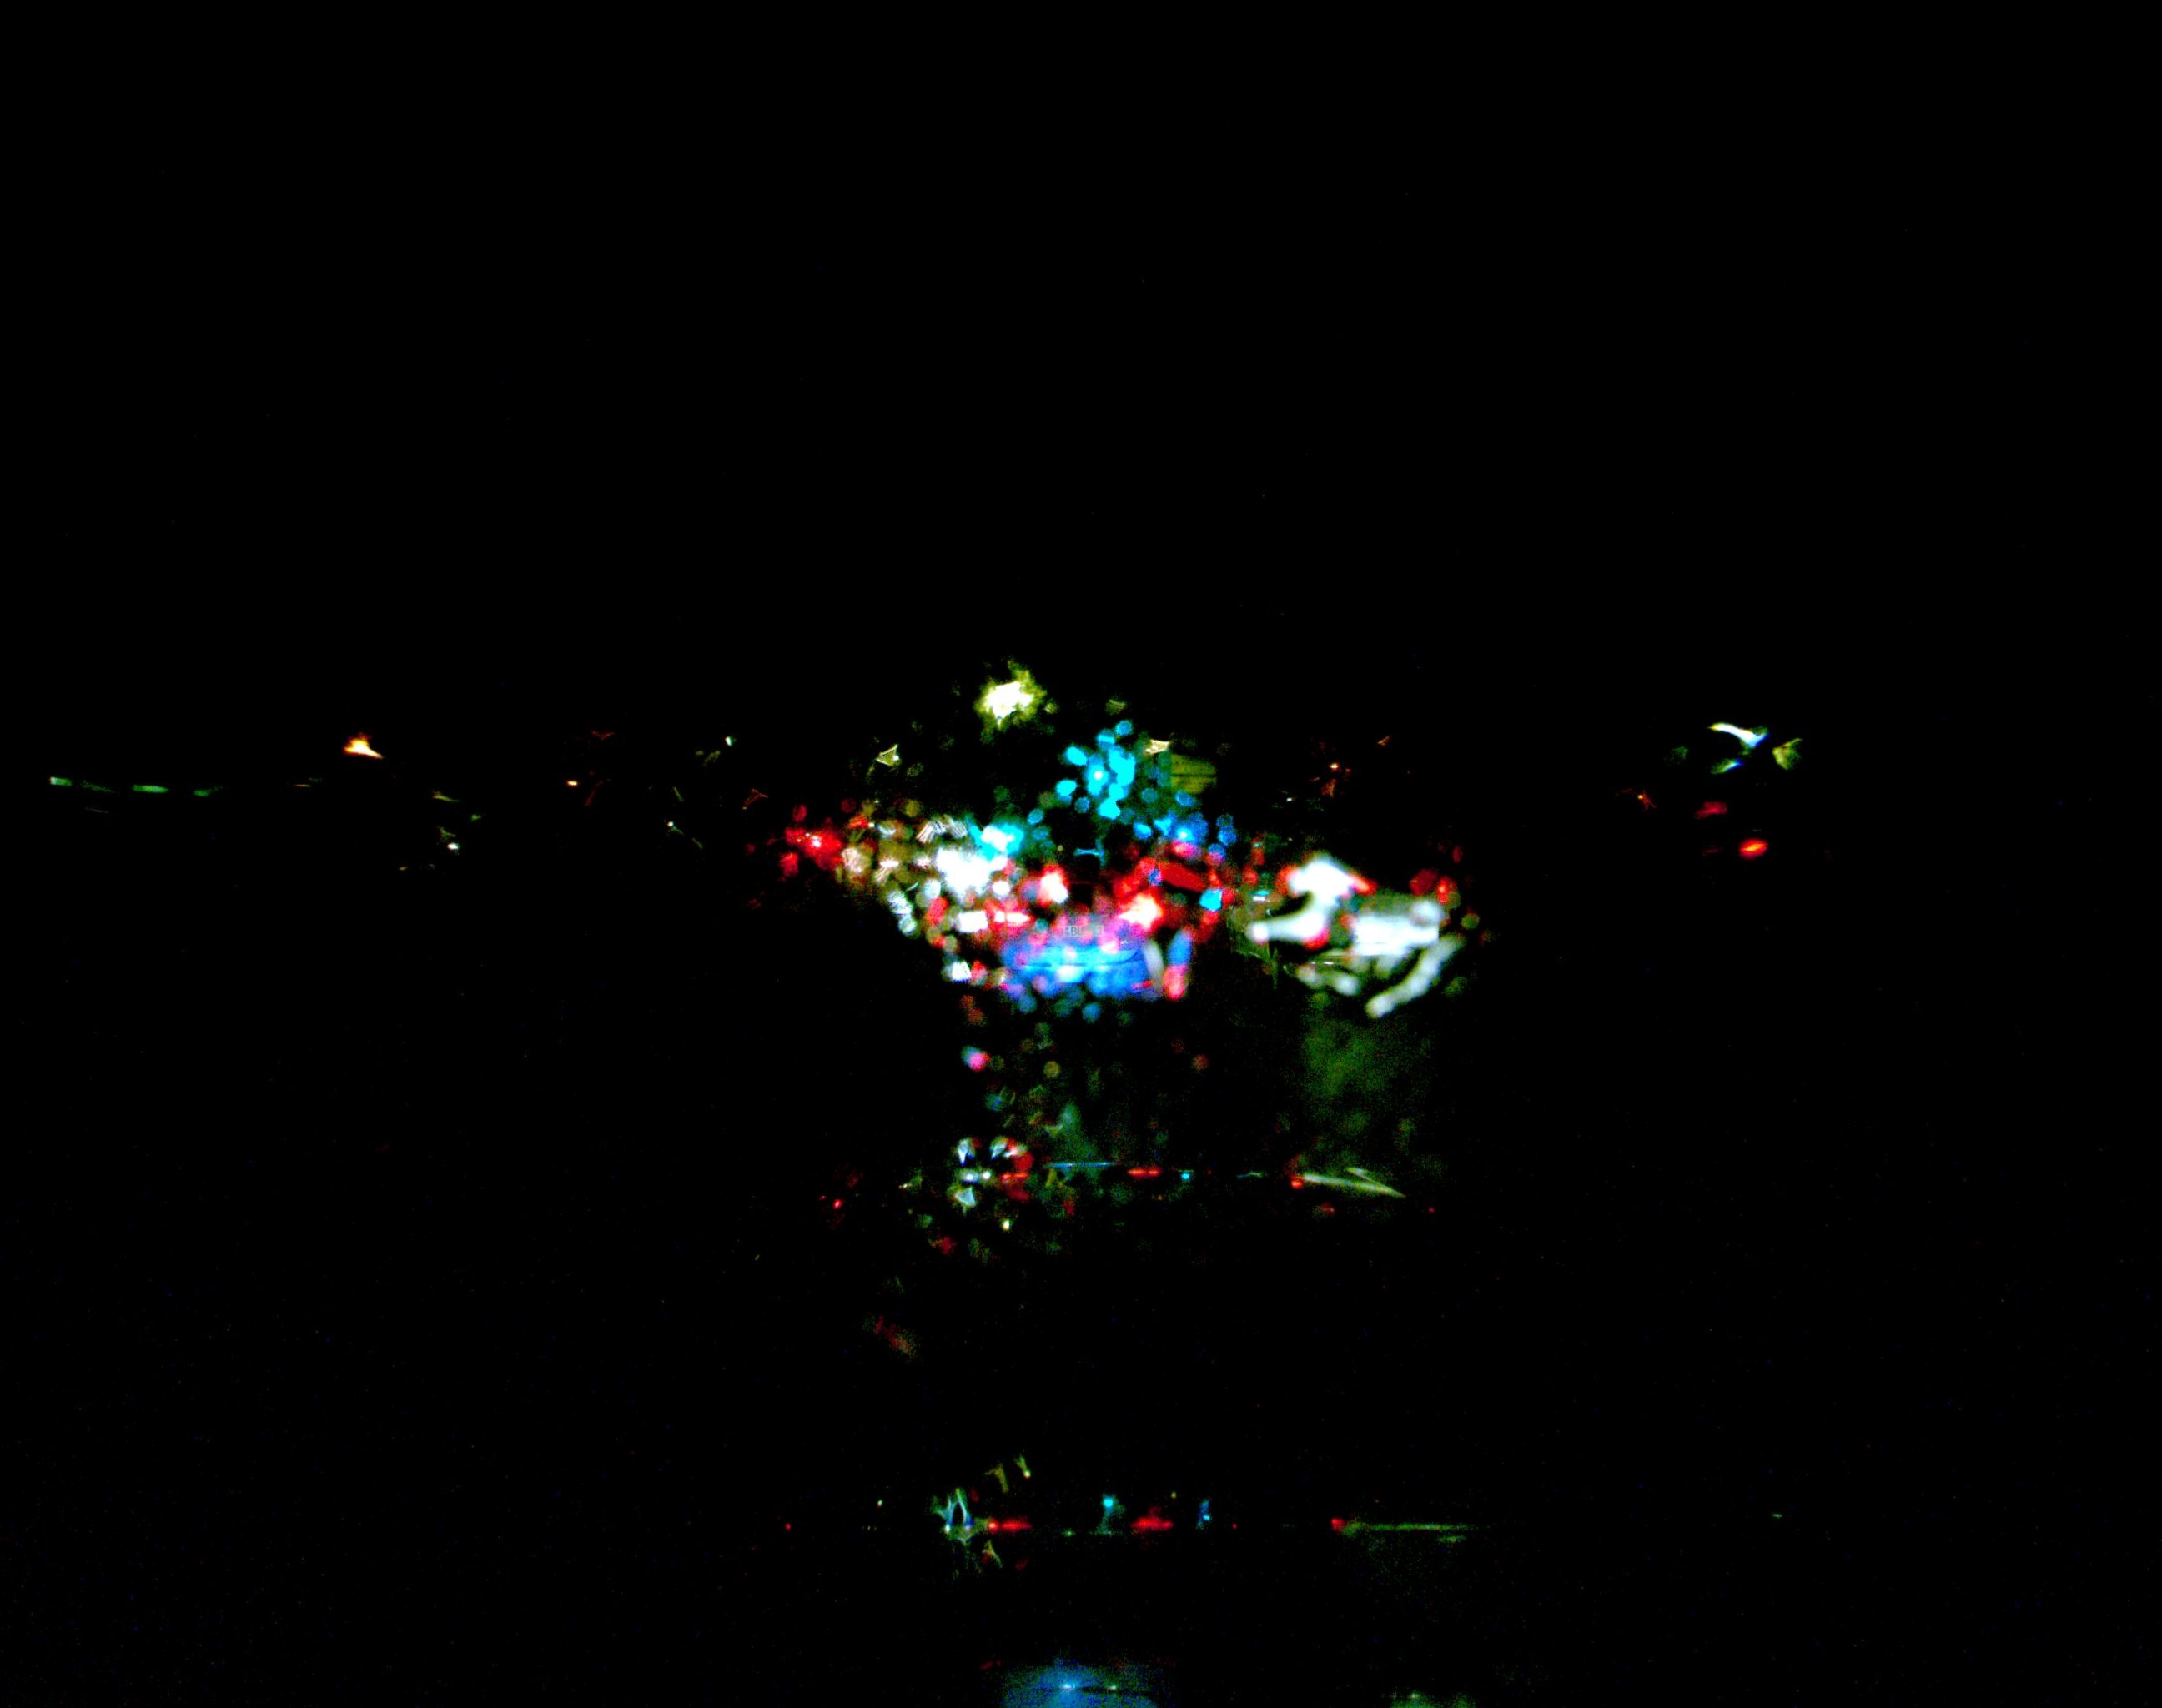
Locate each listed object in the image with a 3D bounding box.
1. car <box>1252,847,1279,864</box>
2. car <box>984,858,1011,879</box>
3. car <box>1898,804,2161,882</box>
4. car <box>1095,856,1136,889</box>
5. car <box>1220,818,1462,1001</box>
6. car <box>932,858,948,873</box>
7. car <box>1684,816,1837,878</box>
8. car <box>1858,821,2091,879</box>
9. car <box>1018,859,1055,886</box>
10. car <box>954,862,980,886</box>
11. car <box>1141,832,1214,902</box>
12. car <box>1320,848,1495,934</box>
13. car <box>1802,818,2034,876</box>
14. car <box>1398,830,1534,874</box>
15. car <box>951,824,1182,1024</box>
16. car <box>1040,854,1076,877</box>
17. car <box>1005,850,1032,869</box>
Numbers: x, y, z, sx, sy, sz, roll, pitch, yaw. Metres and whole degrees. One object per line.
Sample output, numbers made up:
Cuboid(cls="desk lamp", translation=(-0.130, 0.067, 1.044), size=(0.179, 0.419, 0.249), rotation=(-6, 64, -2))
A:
Cuboid(cls="car", translation=(18.665, 0.166, 82.637), size=(1.858, 1.646, 3.965), rotation=(-3, -1, 2))
Cuboid(cls="car", translation=(-7.401, 1.263, 71.633), size=(1.995, 1.824, 3.984), rotation=(0, -1, -11))
Cuboid(cls="car", translation=(19.955, -0.198, 16.867), size=(3.901, 1.487, 1.773), rotation=(0, -1, 20))
Cuboid(cls="car", translation=(1.847, 1.002, 44.701), size=(1.988, 1.718, 3.997), rotation=(0, -1, -2))
Cuboid(cls="car", translation=(3.036, 0.588, 10.517), size=(1.845, 1.865, 4.342), rotation=(0, -1, 2))
Cuboid(cls="car", translation=(-19.521, 1.532, 112.278), size=(1.995, 2.014, 3.982), rotation=(0, -1, -13))
Cuboid(cls="car", translation=(18.233, -0.143, 22.145), size=(1.706, 1.483, 4.730), rotation=(0, -1, 20))
Cuboid(cls="car", translation=(21.151, -0.083, 19.449), size=(3.467, 1.291, 1.480), rotation=(0, -1, 20))
Cuboid(cls="car", translation=(-2.954, 1.186, 53.218), size=(1.994, 1.732, 3.986), rotation=(0, -1, -10))
Cuboid(cls="car", translation=(-9.686, 1.648, 68.879), size=(2.015, 1.887, 4.435), rotation=(0, 1, -11))
Cuboid(cls="car", translation=(2.983, 0.408, 25.910), size=(1.961, 2.047, 4.001), rotation=(0, -1, 2))
Cuboid(cls="car", translation=(6.309, 0.640, 16.301), size=(1.779, 1.442, 4.237), rotation=(-2, 0, 0))
Cuboid(cls="car", translation=(22.320, -0.153, 21.955), size=(3.950, 1.430, 1.855), rotation=(0, -1, 26))
Cuboid(cls="car", translation=(13.906, -0.048, 29.437), size=(4.286, 1.460, 1.863), rotation=(0, -1, 30))
Cuboid(cls="car", translation=(-0.225, 0.619, 9.315), size=(2.010, 1.717, 4.447), rotation=(0, -1, -3))
Cuboid(cls="car", translation=(-1.764, 0.871, 60.912), size=(1.995, 1.670, 3.983), rotation=(0, -1, -12))
Cuboid(cls="car", translation=(-6.280, 0.577, 81.420), size=(1.996, 1.820, 3.981), rotation=(0, -1, -14))
